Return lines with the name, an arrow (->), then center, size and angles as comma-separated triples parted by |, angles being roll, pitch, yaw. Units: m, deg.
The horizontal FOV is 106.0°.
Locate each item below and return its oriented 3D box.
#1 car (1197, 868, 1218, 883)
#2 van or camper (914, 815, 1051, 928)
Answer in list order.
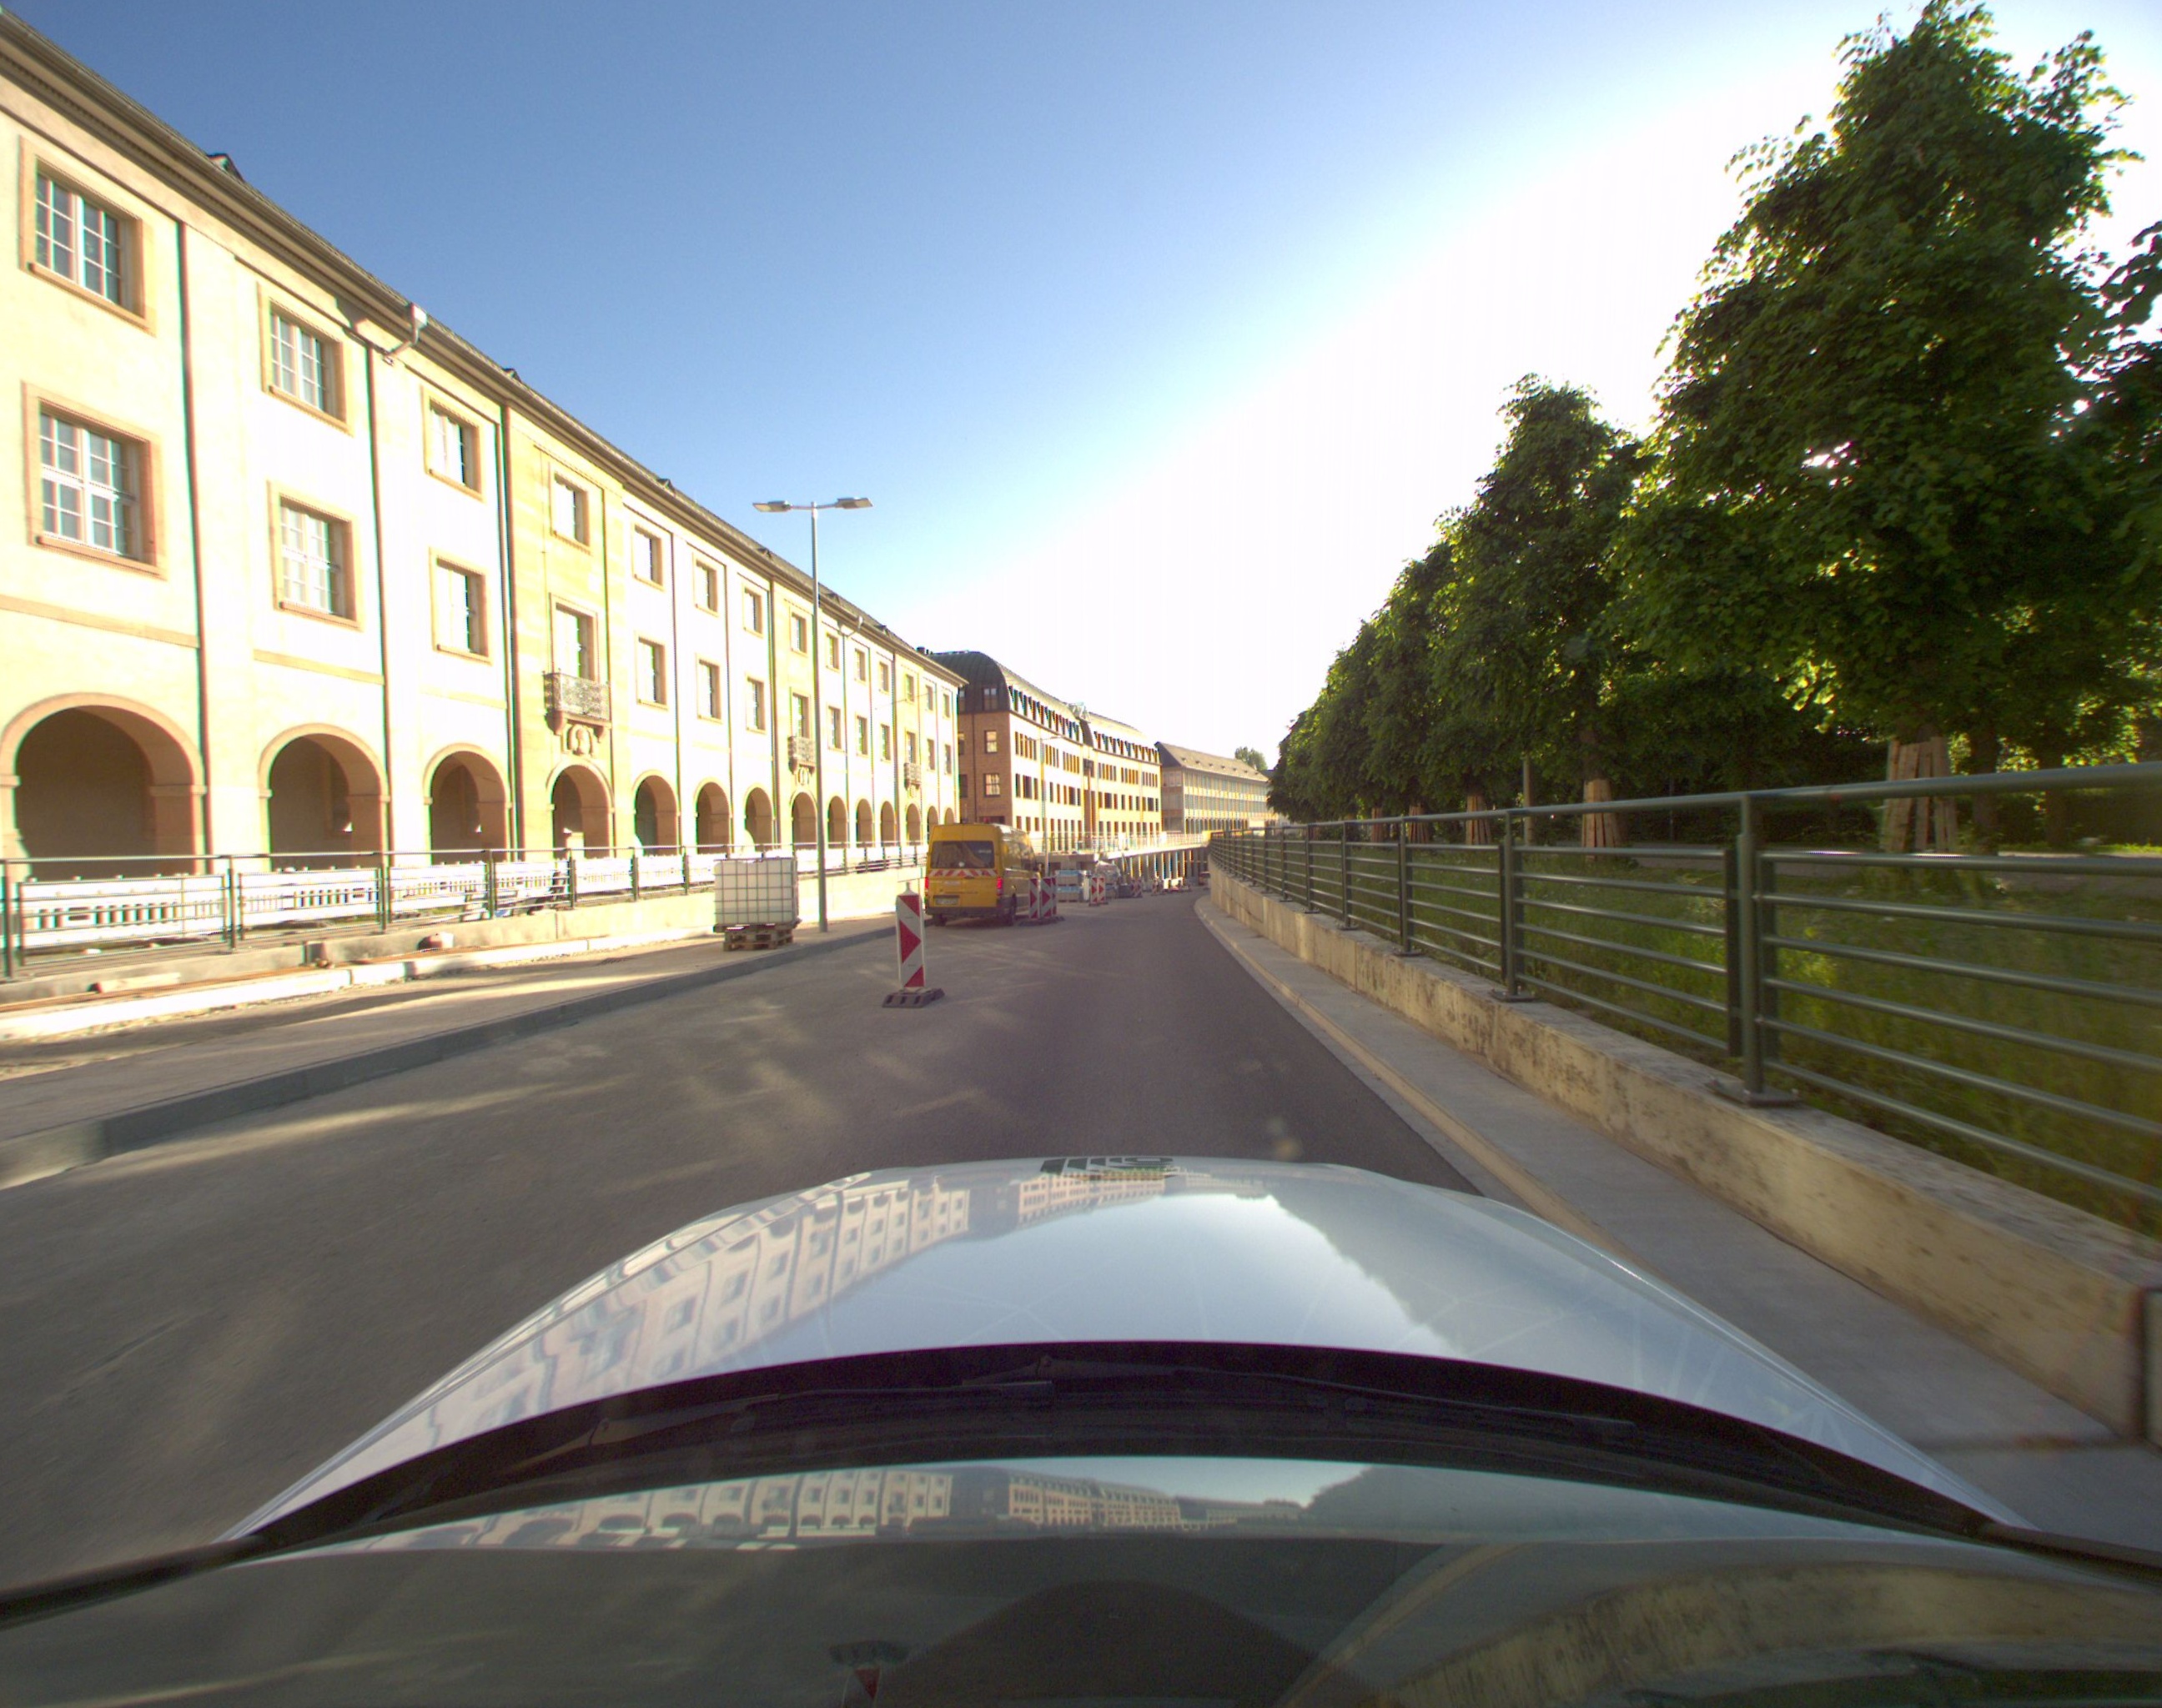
car -> 16.656, 2.856, 106.904 | 1.833, 1.775, 4.456 | -1, 0, 20
van or camper -> -2.437, 0.488, 22.423 | 2.182, 2.613, 6.835 | 1, -1, 6
